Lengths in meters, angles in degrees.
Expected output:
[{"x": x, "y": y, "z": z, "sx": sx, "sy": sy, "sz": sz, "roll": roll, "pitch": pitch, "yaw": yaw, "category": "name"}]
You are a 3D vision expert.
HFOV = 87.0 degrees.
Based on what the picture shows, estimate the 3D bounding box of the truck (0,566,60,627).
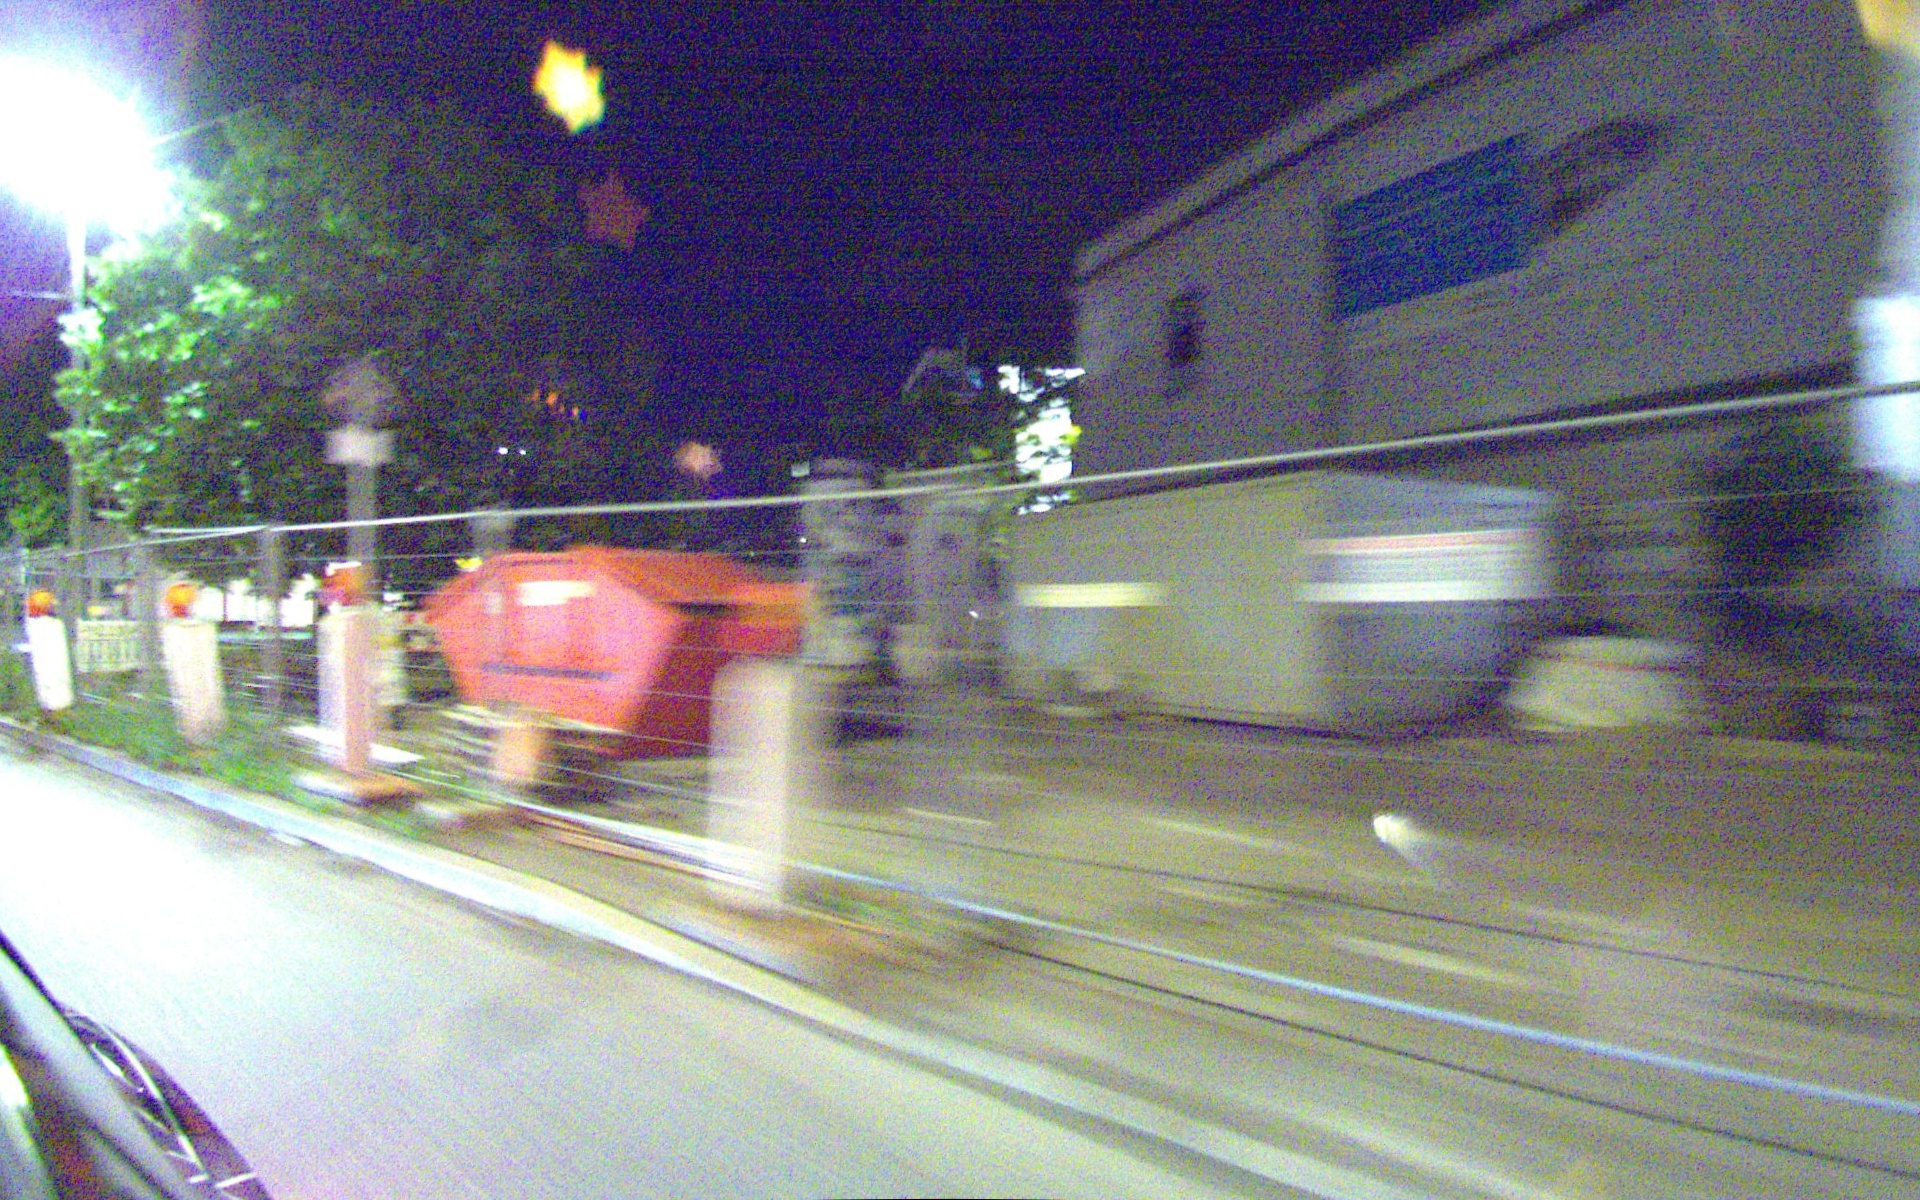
[{"x": -59.275, "y": -0.223, "z": 61.990, "sx": 6.109, "sy": 3.722, "sz": 2.405, "roll": 1, "pitch": -1, "yaw": -40, "category": "truck"}]
